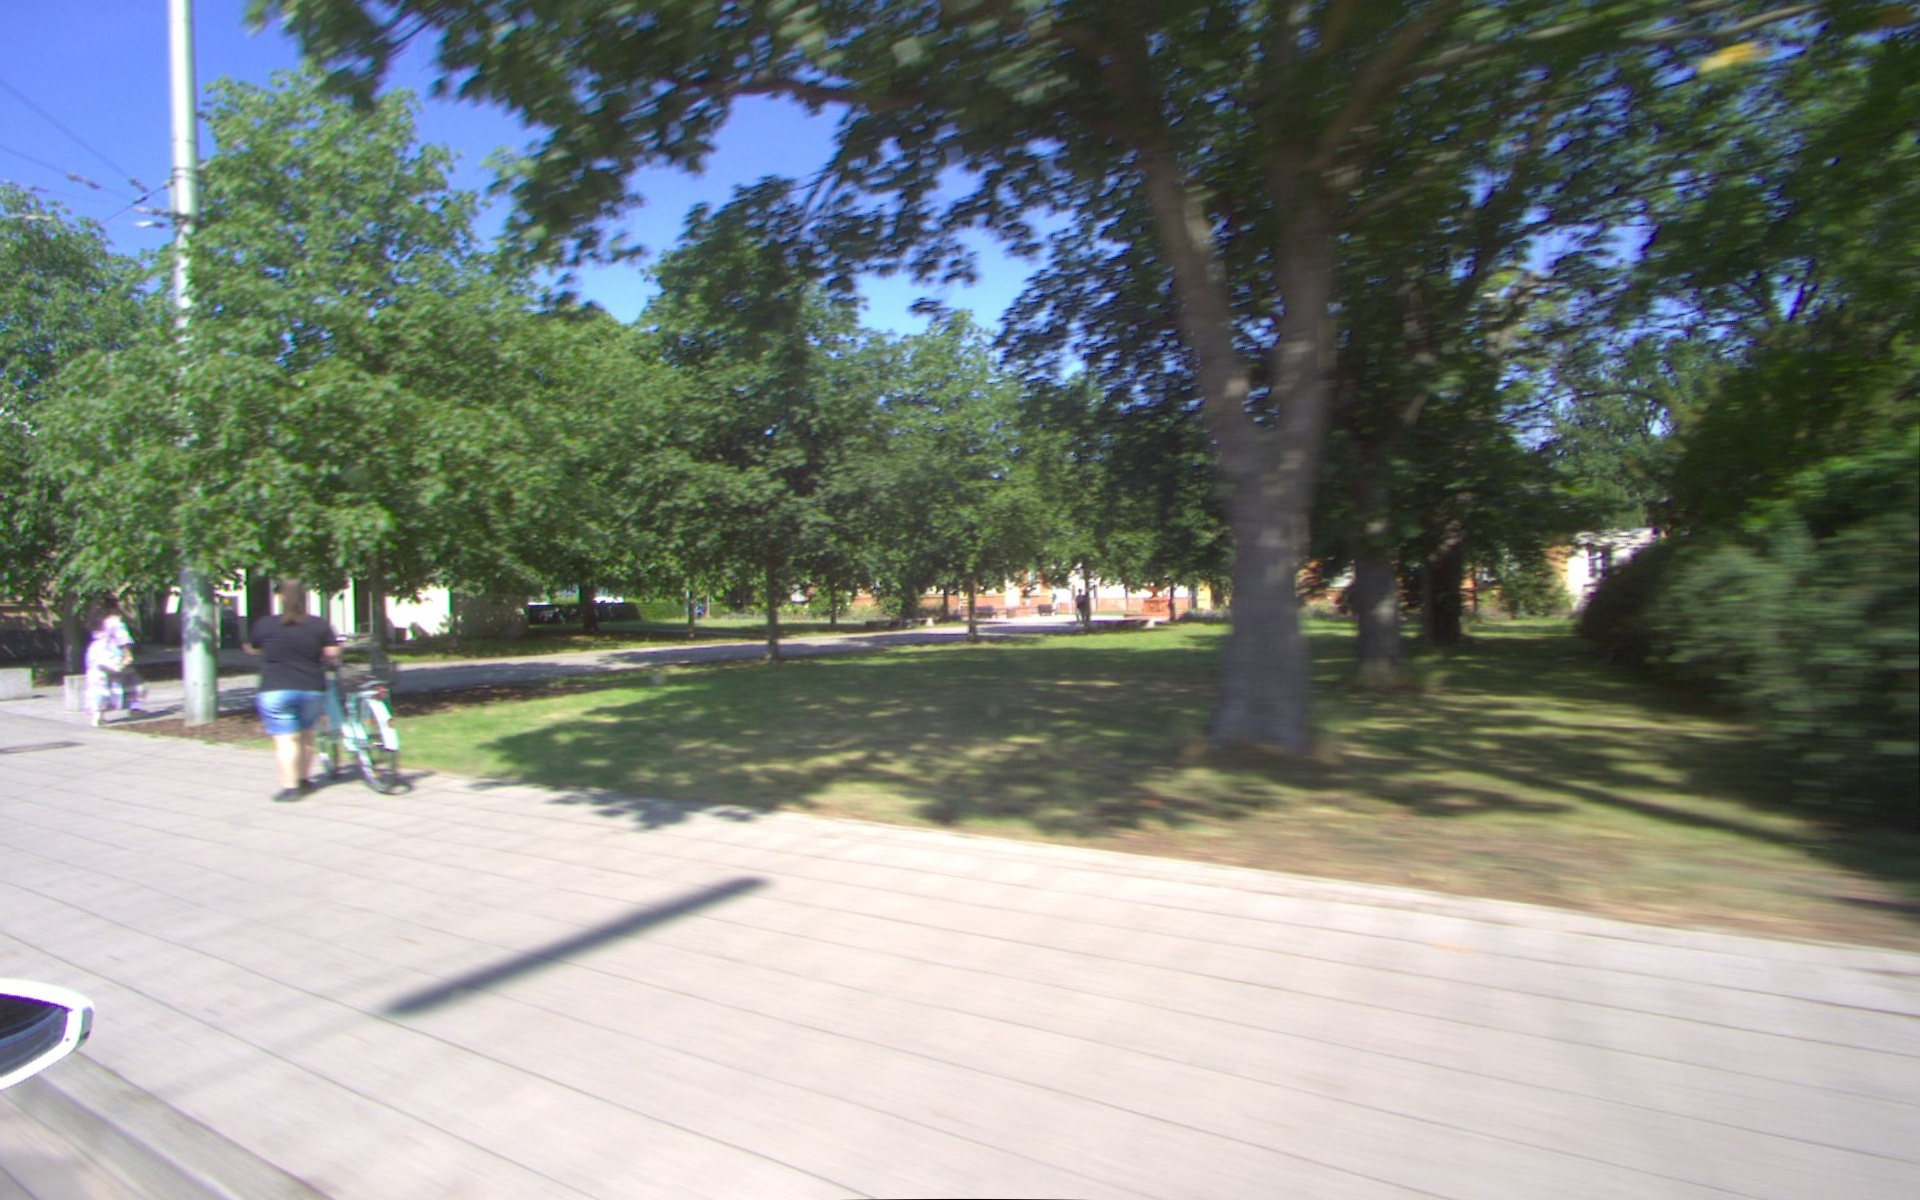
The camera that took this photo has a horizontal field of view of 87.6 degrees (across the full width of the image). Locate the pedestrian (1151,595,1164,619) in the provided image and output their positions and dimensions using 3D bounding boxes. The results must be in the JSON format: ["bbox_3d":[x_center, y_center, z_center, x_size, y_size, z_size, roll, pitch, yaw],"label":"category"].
[{"bbox_3d":[13.051,0.464,66.192,0.734,1.622,0.619,0,1,25],"label":"pedestrian"}]

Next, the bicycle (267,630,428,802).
[{"bbox_3d":[-4.648,0.805,7.545,1.787,1.126,0.533,-1,1,43],"label":"bicycle"}]

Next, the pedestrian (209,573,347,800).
[{"bbox_3d":[-4.993,0.601,7.341,0.654,1.570,0.539,0,3,32],"label":"pedestrian"}]

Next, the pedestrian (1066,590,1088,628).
[{"bbox_3d":[5.121,0.395,43.808,0.679,1.622,0.863,0,1,31],"label":"pedestrian"}]

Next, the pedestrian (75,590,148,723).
[{"bbox_3d":[-11.311,0.729,13.347,0.700,1.705,0.646,0,2,44],"label":"pedestrian"}]
